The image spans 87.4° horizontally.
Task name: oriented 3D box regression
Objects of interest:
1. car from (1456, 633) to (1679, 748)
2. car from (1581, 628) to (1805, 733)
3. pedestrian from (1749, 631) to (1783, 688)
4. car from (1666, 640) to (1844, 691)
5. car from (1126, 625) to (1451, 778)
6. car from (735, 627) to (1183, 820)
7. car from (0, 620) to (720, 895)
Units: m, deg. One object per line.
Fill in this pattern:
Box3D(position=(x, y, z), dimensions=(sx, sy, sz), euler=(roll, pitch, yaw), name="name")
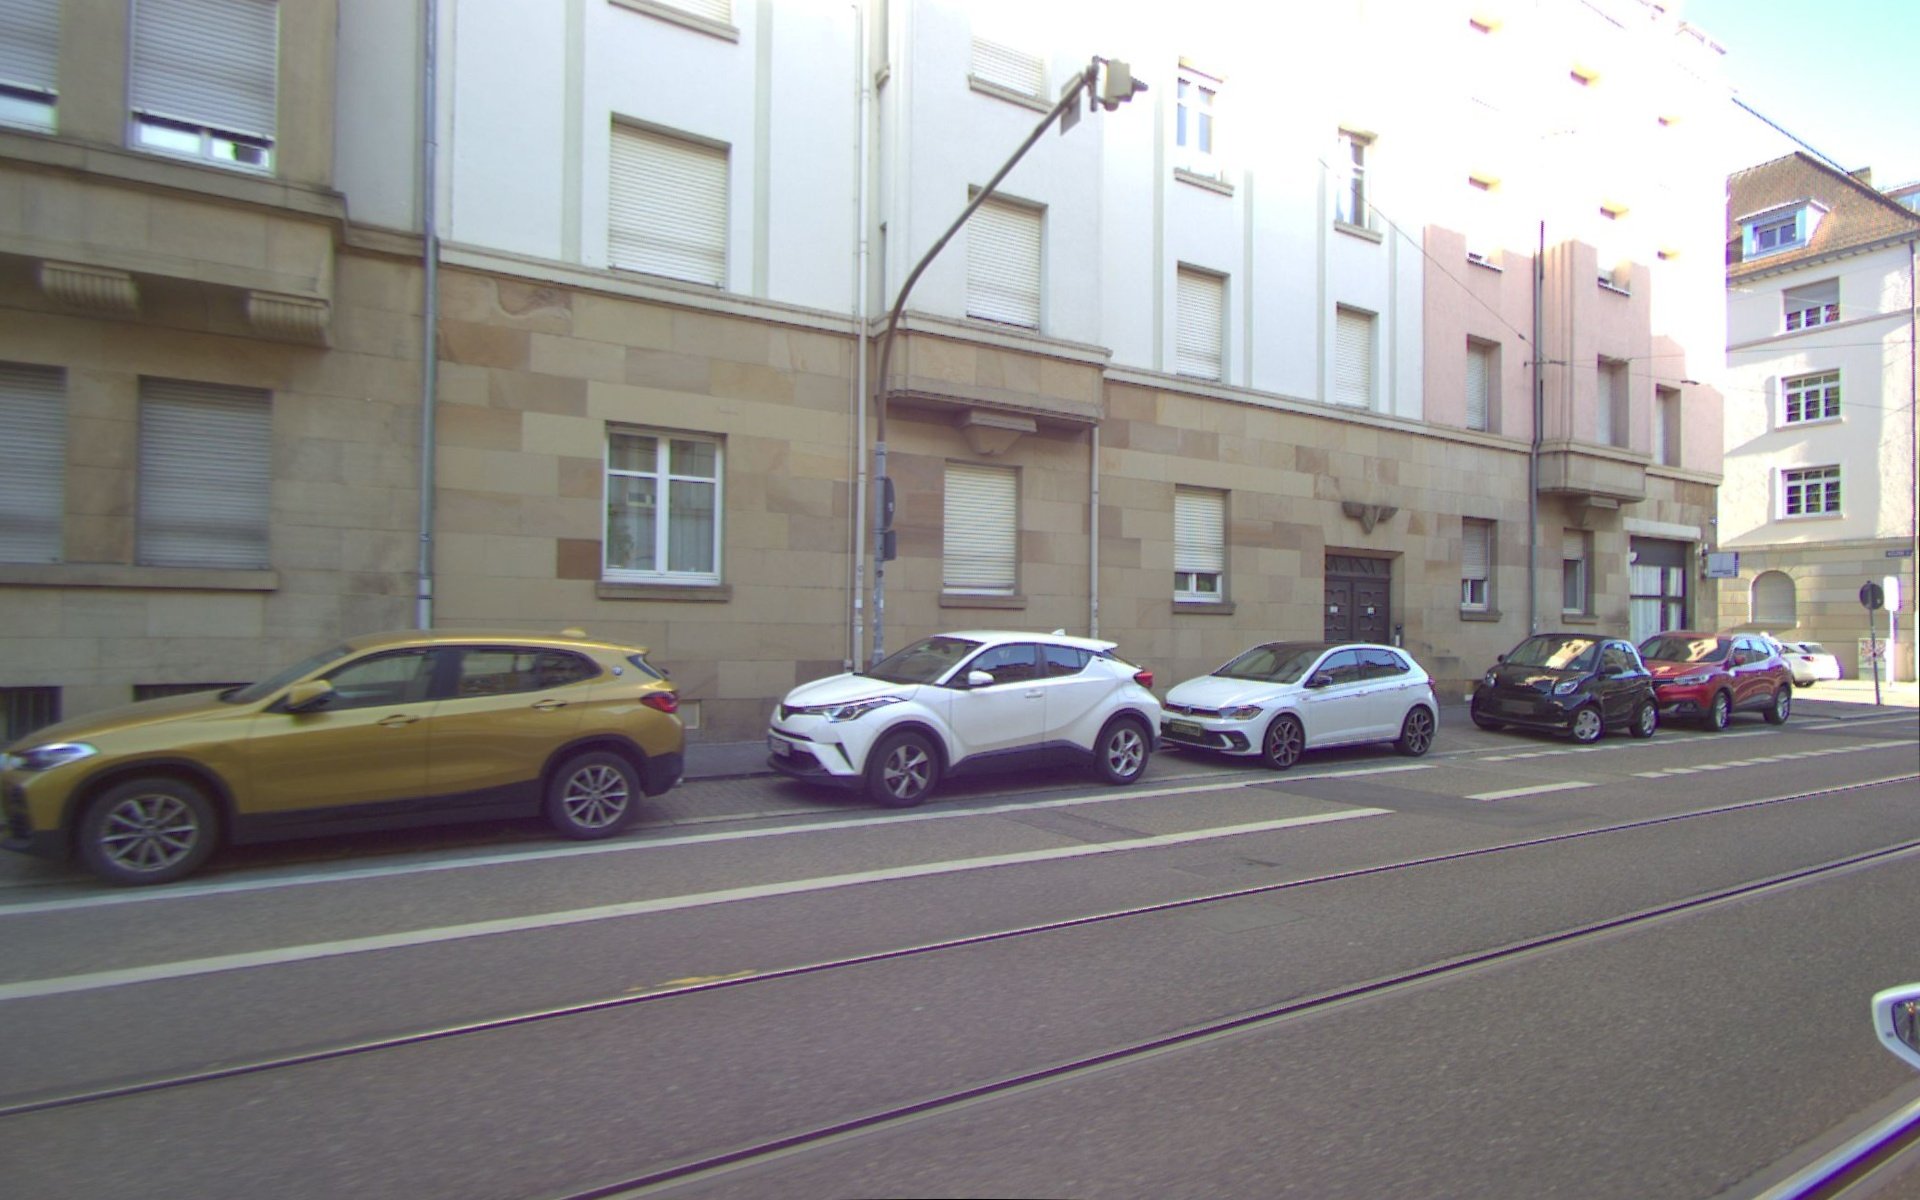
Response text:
Box3D(position=(9.502, 1.327, 15.709), dimensions=(2.983, 1.573, 1.775), euler=(1, 0, -30), name="car")
Box3D(position=(13.231, 1.356, 18.070), dimensions=(4.349, 1.628, 1.773), euler=(1, 0, -32), name="car")
Box3D(position=(25.217, 1.847, 31.426), dimensions=(0.723, 1.735, 0.604), euler=(1, -2, -30), name="pedestrian")
Box3D(position=(25.878, 2.089, 32.848), dimensions=(1.761, 1.484, 4.198), euler=(0, -2, -30), name="car")
Box3D(position=(4.300, 1.180, 12.975), dimensions=(4.133, 1.643, 1.773), euler=(1, 0, -32), name="car")
Box3D(position=(0.082, 1.094, 10.290), dimensions=(4.317, 1.567, 1.762), euler=(1, 0, -32), name="car")
Box3D(position=(-4.197, 0.957, 7.594), dimensions=(4.310, 1.544, 1.774), euler=(1, 0, -31), name="car")
